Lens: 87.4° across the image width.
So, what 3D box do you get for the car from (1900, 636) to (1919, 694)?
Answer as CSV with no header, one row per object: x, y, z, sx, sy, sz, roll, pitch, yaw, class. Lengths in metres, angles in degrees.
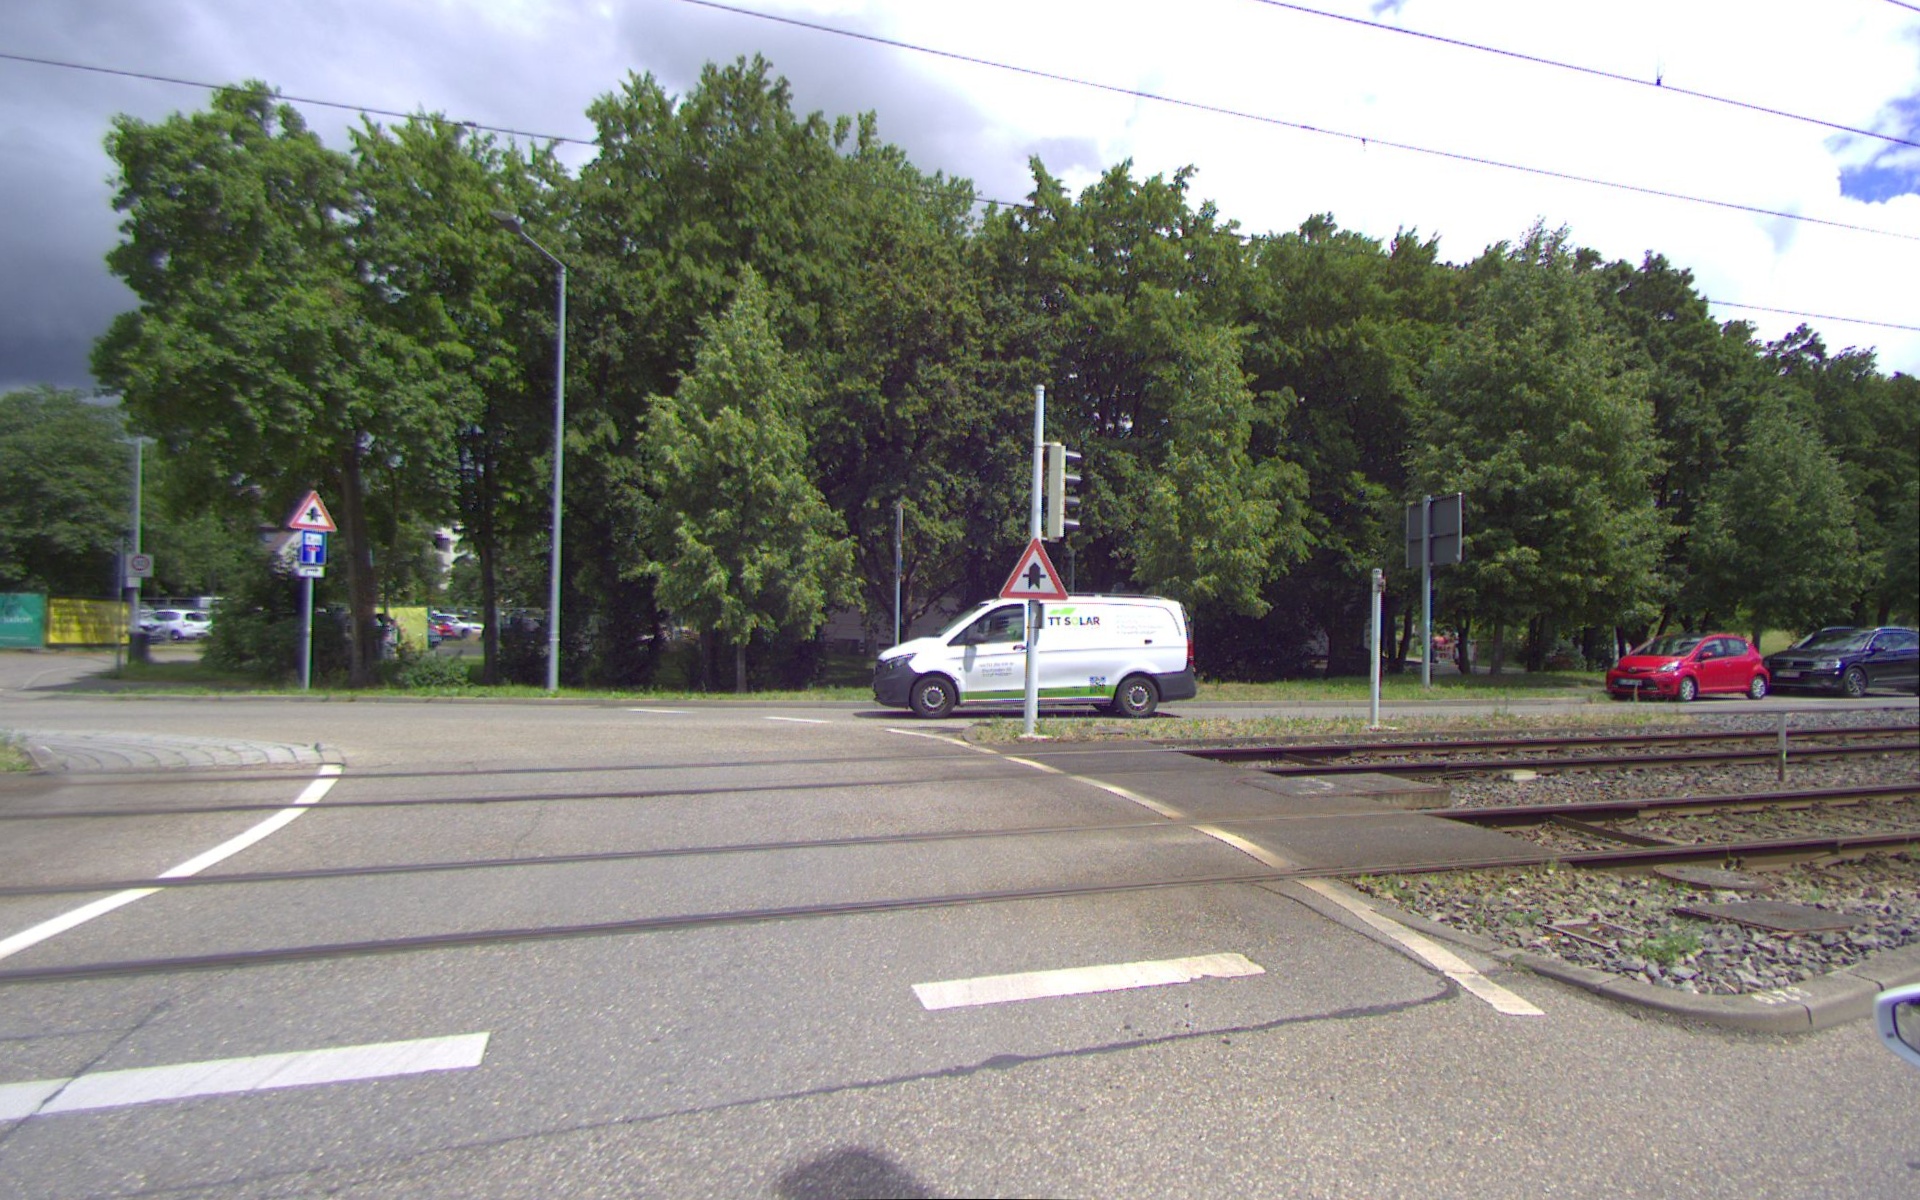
26.426,1.743,25.783,3.944,1.480,1.612,2,0,-18,car

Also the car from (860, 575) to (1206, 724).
1.050,0.762,15.870,5.138,2.045,1.879,2,0,-8,car

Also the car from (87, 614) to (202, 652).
-34.820,1.396,42.916,3.919,1.439,1.759,2,0,13,car

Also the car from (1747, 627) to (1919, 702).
21.332,1.561,24.188,4.305,1.627,1.579,2,0,-18,car

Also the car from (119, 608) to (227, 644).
-35.440,1.168,45.260,3.919,1.439,1.759,2,0,13,car

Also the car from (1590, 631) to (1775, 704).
16.230,1.507,22.571,3.606,1.471,1.611,2,0,-20,car
